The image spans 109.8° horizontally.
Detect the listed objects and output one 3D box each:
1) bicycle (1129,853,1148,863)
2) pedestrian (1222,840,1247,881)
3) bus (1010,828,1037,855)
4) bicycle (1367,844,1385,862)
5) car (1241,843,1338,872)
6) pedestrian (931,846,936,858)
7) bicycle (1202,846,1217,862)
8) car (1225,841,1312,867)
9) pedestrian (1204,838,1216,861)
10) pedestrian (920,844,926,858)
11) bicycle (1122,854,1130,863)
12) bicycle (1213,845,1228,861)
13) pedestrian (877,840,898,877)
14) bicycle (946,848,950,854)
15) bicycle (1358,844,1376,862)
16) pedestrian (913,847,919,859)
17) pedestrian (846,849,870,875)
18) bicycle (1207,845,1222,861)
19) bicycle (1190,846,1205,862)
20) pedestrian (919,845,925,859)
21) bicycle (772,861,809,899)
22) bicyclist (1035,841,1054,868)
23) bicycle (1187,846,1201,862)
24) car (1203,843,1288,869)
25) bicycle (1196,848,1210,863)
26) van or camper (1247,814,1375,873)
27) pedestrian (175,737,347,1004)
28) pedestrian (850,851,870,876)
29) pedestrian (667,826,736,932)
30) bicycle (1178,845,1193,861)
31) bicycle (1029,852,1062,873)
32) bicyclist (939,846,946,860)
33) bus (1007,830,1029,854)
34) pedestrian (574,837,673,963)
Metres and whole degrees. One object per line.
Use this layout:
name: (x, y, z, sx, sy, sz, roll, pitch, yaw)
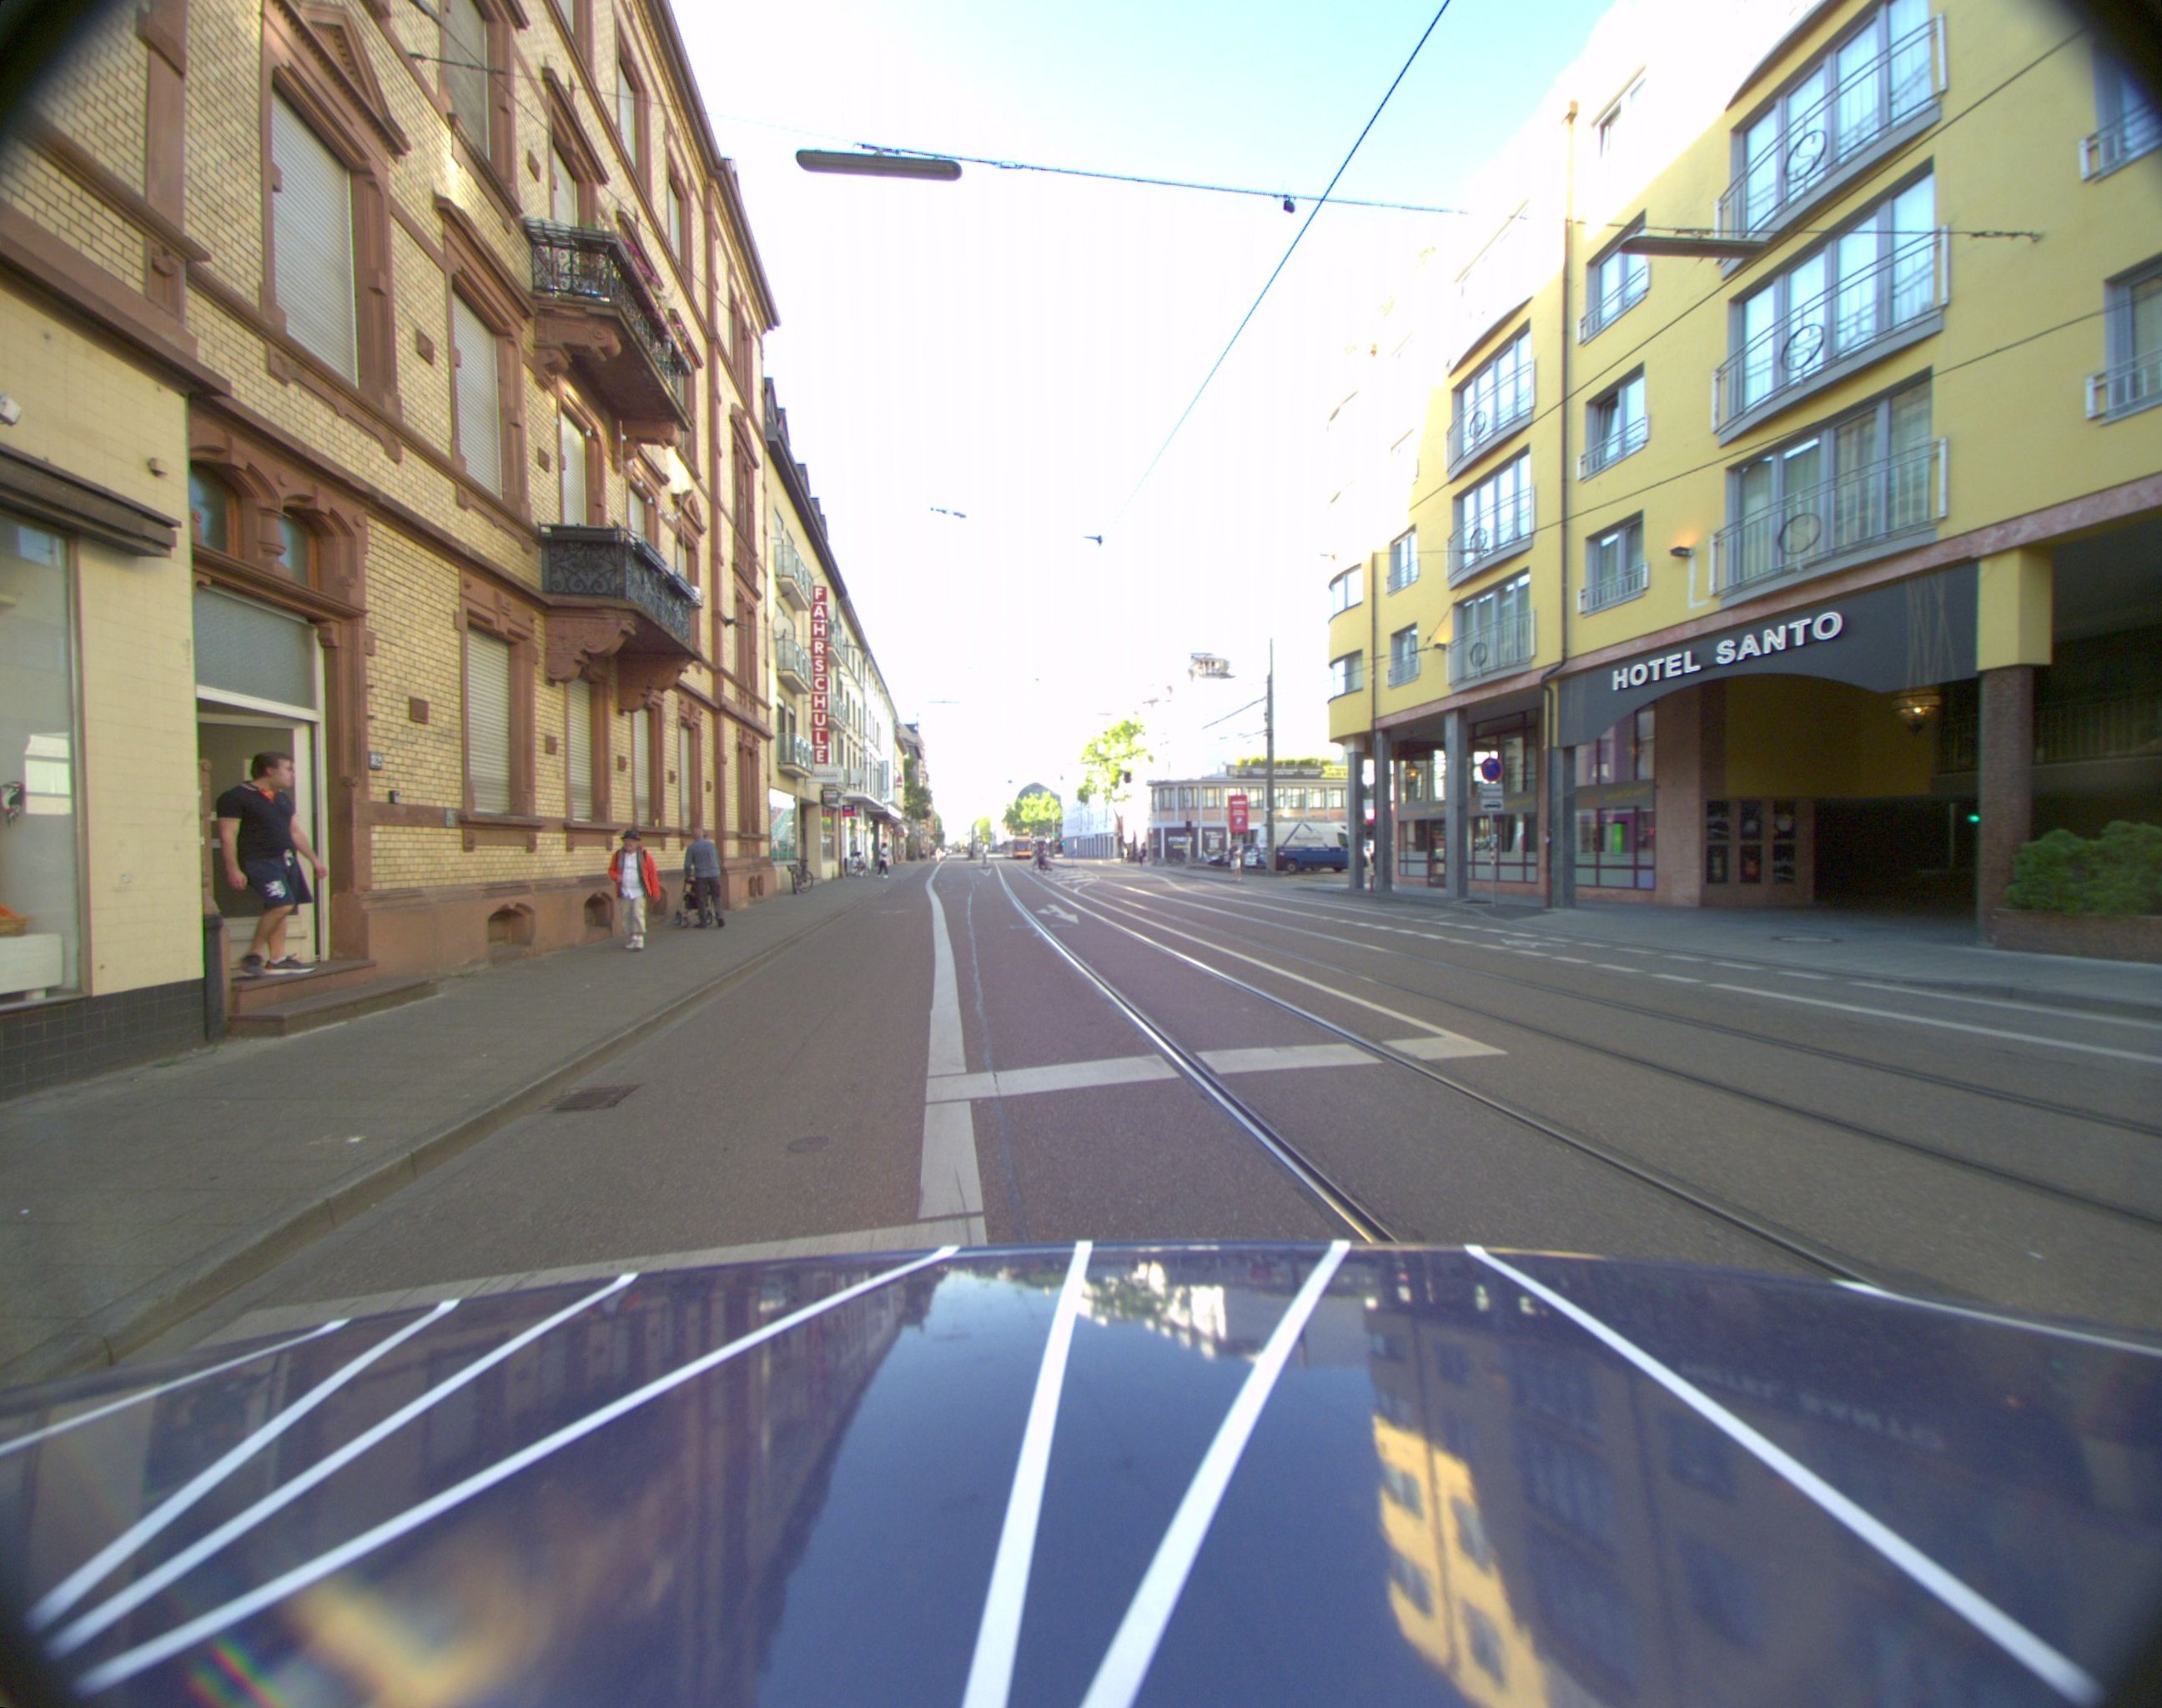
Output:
bicycle: (5.713, 0.414, 75.782, 1.850, 0.906, 0.389, -2, -3, -4)
pedestrian: (6.913, 0.296, 34.208, 0.836, 1.822, 0.908, -1, 1, -10)
bus: (-8.350, -1.753, 108.663, 2.820, 3.547, 13.666, -1, 1, -8)
bicycle: (19.346, -0.060, 49.879, 0.432, 1.180, 1.831, 0, 0, -2)
car: (11.063, 0.149, 40.364, 4.603, 1.467, 1.878, 0, 0, -9)
pedestrian: (-22.746, -0.350, 117.295, 0.808, 1.790, 0.761, -1, 1, -9)
bicycle: (9.722, -0.024, 57.398, 0.449, 1.180, 1.829, -1, 0, -12)
car: (10.984, 0.017, 44.742, 4.603, 1.467, 1.878, 0, 0, -9)
pedestrian: (9.702, -0.334, 57.046, 0.683, 1.687, 0.682, -1, 1, -11)
pedestrian: (-19.735, -0.369, 95.032, 0.651, 1.761, 0.696, -1, 1, -4)
bicycle: (4.534, 0.431, 75.955, 0.389, 0.907, 1.849, -2, 1, -8)
bicycle: (10.549, -0.108, 57.548, 0.449, 1.180, 1.829, -1, 0, -12)
pedestrian: (-10.011, 0.234, 39.300, 0.706, 1.801, 0.680, 5, 0, 6)
bicycle: (-23.462, -0.539, 134.133, 0.683, 1.164, 1.829, -2, 2, -11)
bicycle: (18.749, -0.059, 49.864, 0.432, 1.180, 1.831, 0, 0, -2)
pedestrian: (-20.808, -0.122, 95.800, 0.651, 1.570, 0.682, -1, 1, -16)
pedestrian: (-11.254, 0.413, 38.422, 0.833, 1.248, 0.704, 5, 0, -44)
bicycle: (10.102, -0.107, 57.397, 0.449, 1.180, 1.829, -1, 0, -12)
bicycle: (8.798, 0.013, 57.365, 0.449, 1.180, 1.829, -1, 0, -12)
pedestrian: (-20.119, -0.234, 95.983, 0.651, 1.706, 0.805, -1, 1, -14)
bicycle: (-8.826, 0.766, 23.174, 0.557, 1.055, 2.309, 2, 0, -9)
bicyclist: (-2.123, 0.012, 44.209, 0.839, 1.541, 0.689, -2, 5, -37)
bicycle: (8.461, -0.035, 56.968, 0.442, 1.180, 1.830, -1, 0, -10)
car: (10.381, 0.125, 48.181, 4.910, 1.574, 1.878, 0, 0, -9)
bicycle: (9.234, 0.110, 57.530, 0.444, 1.180, 1.829, -1, 0, -12)
van or camper: (11.359, -0.517, 37.742, 5.624, 2.811, 2.313, 0, 1, -8)
pedestrian: (-6.212, 0.127, 5.792, 0.515, 1.895, 0.594, 4, -1, -8)
pedestrian: (-11.485, 0.488, 39.458, 0.708, 1.168, 1.013, 5, 0, -28)
pedestrian: (-6.696, 0.435, 13.459, 0.808, 1.789, 0.761, 3, 0, -9)
bicycle: (7.896, -0.053, 57.270, 0.447, 1.180, 1.829, -1, 0, -15)
bicycle: (-2.053, 0.477, 44.311, 1.835, 1.165, 0.681, -2, 5, -37)
bicyclist: (-15.549, -0.096, 85.412, 0.677, 1.604, 0.836, -1, 1, -11)
bus: (-10.171, -1.891, 121.866, 2.820, 3.547, 13.667, -1, 1, -8)
pedestrian: (-6.283, 0.622, 10.492, 0.800, 1.618, 0.825, 5, -1, -8)
